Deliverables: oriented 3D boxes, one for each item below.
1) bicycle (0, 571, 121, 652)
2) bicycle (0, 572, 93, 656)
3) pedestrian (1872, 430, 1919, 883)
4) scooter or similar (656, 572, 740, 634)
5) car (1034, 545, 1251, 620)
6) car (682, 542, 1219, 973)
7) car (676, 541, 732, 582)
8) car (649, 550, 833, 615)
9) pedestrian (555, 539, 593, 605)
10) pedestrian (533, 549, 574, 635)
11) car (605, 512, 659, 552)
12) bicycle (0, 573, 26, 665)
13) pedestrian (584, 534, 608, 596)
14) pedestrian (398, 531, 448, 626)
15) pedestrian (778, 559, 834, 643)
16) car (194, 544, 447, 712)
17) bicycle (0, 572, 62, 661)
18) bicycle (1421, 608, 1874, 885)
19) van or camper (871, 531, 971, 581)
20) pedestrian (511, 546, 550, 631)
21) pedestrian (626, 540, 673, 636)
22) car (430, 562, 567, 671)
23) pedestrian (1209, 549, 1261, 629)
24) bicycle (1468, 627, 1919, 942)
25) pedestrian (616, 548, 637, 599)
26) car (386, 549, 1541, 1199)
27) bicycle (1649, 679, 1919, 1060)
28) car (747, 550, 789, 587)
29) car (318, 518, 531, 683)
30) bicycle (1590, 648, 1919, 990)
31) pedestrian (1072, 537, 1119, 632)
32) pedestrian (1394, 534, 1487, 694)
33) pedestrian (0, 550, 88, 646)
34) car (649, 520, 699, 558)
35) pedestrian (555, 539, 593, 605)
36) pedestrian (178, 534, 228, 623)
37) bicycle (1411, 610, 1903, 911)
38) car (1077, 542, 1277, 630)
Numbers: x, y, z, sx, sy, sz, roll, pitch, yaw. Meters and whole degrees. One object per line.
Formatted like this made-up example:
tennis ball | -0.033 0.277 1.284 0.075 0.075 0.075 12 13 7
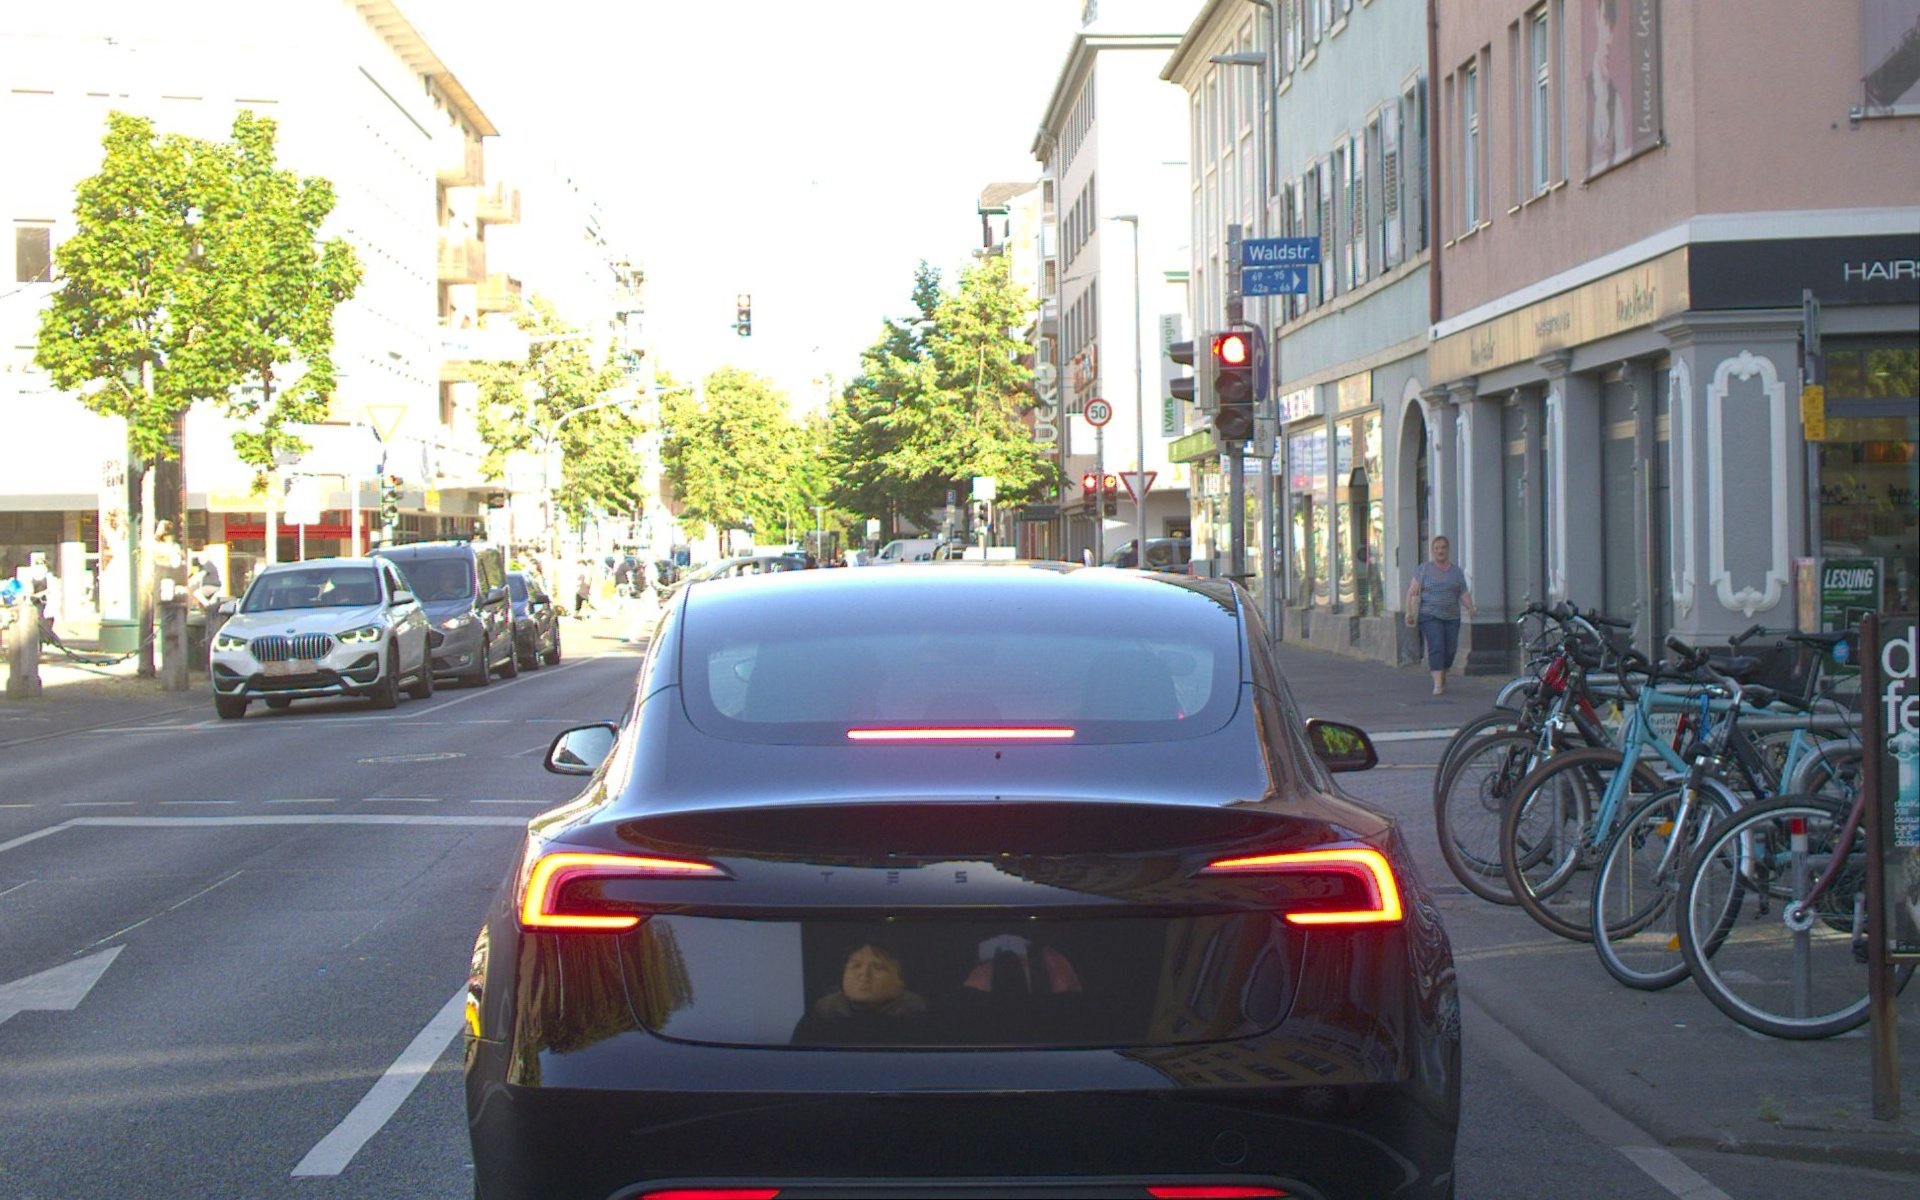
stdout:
bicycle | -14.692 0.169 54.566 2.542 1.247 0.943 1 0 -3
bicycle | -14.531 0.195 52.141 2.542 1.247 0.943 1 0 -3
pedestrian | 4.270 0.226 14.091 0.809 1.816 0.982 1 0 3
scooter or similar | -4.873 0.061 63.912 1.333 1.131 0.810 1 0 -24
car | 4.648 -0.470 87.328 5.195 1.860 1.884 0 1 -22
car | -0.057 0.525 14.199 1.850 1.476 4.452 1 1 -1
car | -12.391 -1.863 166.452 2.414 1.963 4.678 0 1 -1
car | -5.226 -0.423 82.136 4.119 1.525 1.552 0 1 -21
pedestrian | -10.940 -0.797 97.345 0.734 1.861 0.789 1 0 28
pedestrian | -7.638 -0.158 64.584 0.704 1.604 0.608 1 0 -9
car | -17.122 -3.528 179.643 2.275 2.007 4.717 1 1 1
bicycle | -14.484 0.240 47.547 2.875 1.266 0.943 1 0 -3
pedestrian | -10.993 -1.068 103.880 0.695 1.861 0.659 1 0 -5
pedestrian | -10.030 -0.396 64.162 0.844 1.754 0.707 1 0 -14
pedestrian | -2.966 0.014 66.149 0.806 1.604 0.709 0 1 -37
car | -6.685 0.258 36.341 1.825 1.559 4.301 -4 1 -1
bicycle | -14.486 0.223 49.866 2.662 1.255 0.943 1 0 -3
bicycle | 2.925 0.613 14.737 1.813 1.148 0.653 0 1 1
van or camper | -1.897 -2.128 167.550 4.850 2.430 1.851 0 1 -1
pedestrian | -8.137 -0.216 65.152 0.649 1.604 0.592 1 0 -14
pedestrian | -5.724 -0.218 63.367 0.658 1.754 0.654 1 0 -24
car | -6.651 0.209 49.798 1.461 1.425 3.606 -4 1 -1
pedestrian | 5.866 -0.237 73.379 0.806 1.707 0.709 0 0 -37
bicycle | 2.803 0.657 12.529 1.813 1.098 0.653 0 1 1
pedestrian | -12.326 -0.983 126.993 0.694 1.861 0.910 1 0 -8
car | -0.021 0.629 7.775 1.850 1.442 4.452 1 1 -1
bicycle | 3.029 0.760 10.051 1.882 1.040 0.653 -1 1 1
car | -10.439 -1.734 187.135 2.132 1.963 4.134 0 1 -1
car | -6.570 -0.032 42.664 1.945 1.940 4.820 0 1 -1
bicycle | 3.002 0.693 11.123 1.813 1.056 0.653 0 1 1
pedestrian | 2.719 -0.316 68.760 0.708 1.870 0.808 1 0 20
pedestrian | 4.706 0.133 33.732 0.789 1.544 0.724 1 0 0
pedestrian | -15.720 -0.038 58.907 1.093 1.606 1.266 0 1 -37
car | -15.645 -3.348 188.282 2.275 2.007 4.717 1 1 1
pedestrian | -10.833 -0.787 96.531 0.733 1.861 0.791 0 0 -37
pedestrian | -17.298 -0.492 78.540 0.922 2.007 0.859 1 0 -25
bicycle | 2.734 0.621 13.603 1.813 1.148 0.653 0 1 1
car | 4.711 -0.321 74.676 3.992 1.861 1.698 0 1 -21
